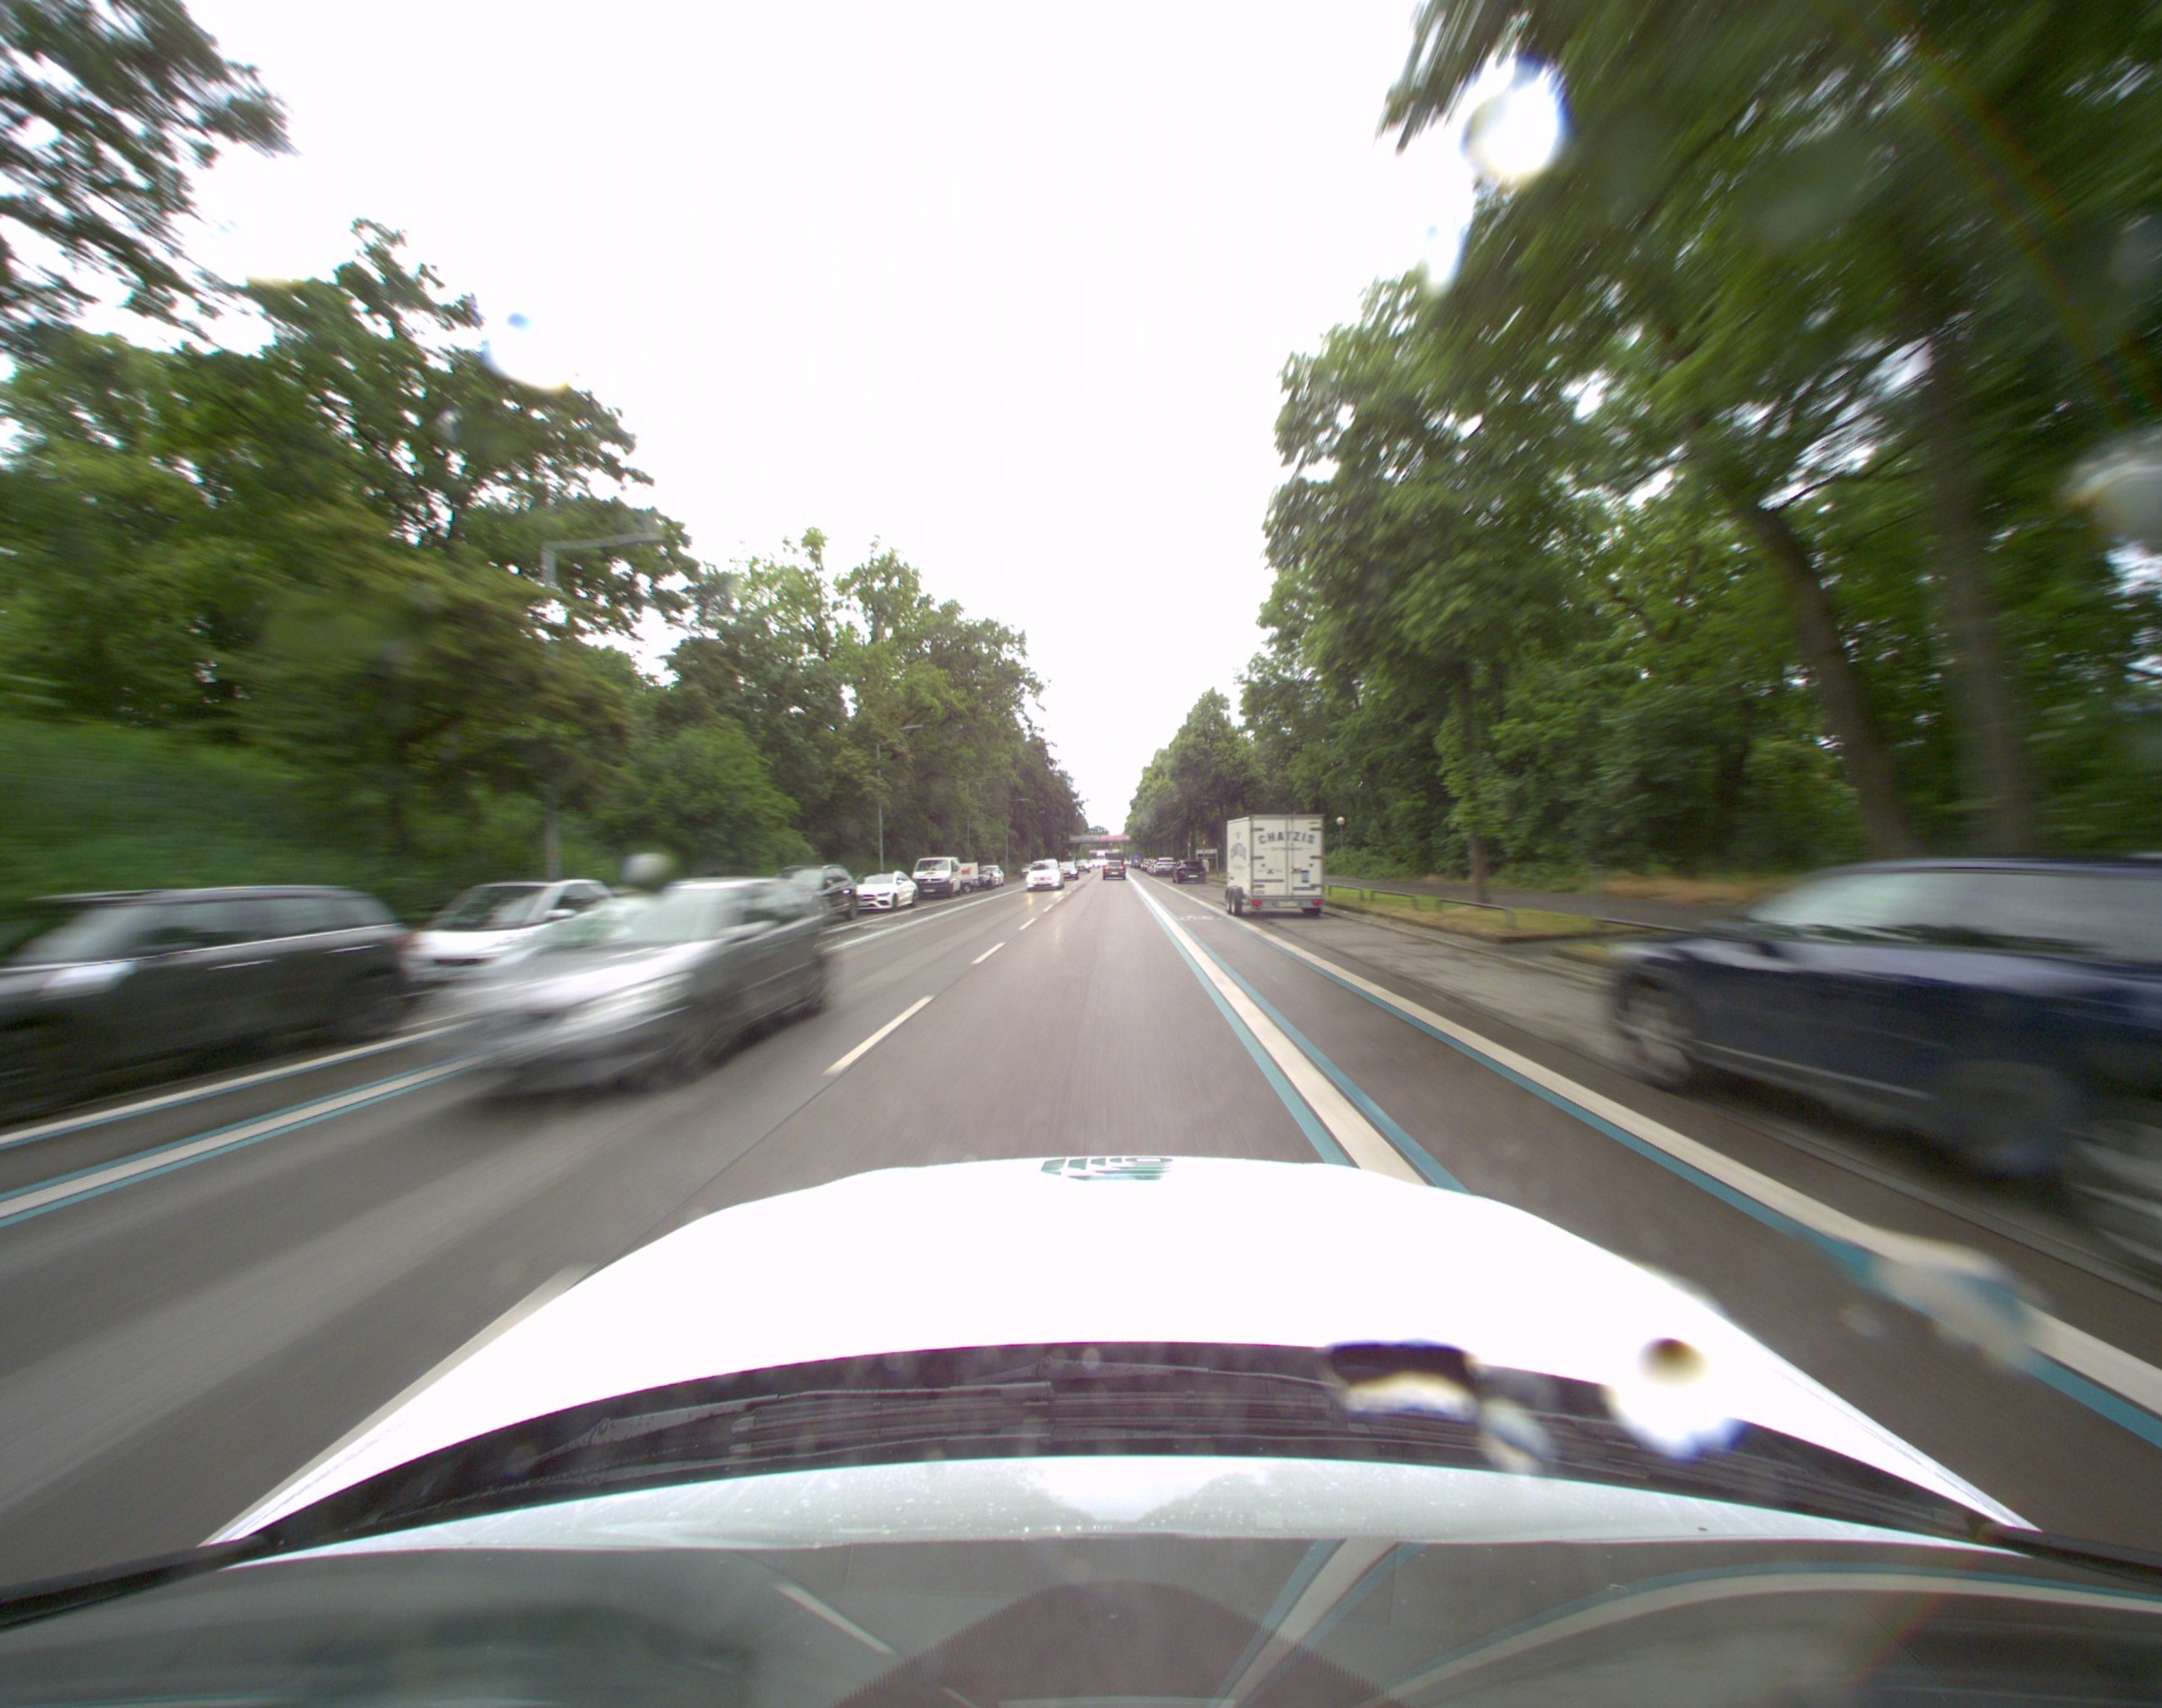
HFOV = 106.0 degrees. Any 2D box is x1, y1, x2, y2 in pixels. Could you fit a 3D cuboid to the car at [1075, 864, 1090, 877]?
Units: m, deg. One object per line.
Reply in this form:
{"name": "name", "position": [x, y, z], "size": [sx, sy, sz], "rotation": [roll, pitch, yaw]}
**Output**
{"name": "car", "position": [0.201, 2.006, 100.689], "size": [1.699, 1.572, 4.003], "rotation": [-1, 0, 3]}

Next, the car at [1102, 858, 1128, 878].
{"name": "car", "position": [2.557, 1.108, 62.244], "size": [1.865, 1.441, 4.295], "rotation": [0, -2, 0]}

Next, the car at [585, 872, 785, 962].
{"name": "car", "position": [-7.816, 1.170, 16.642], "size": [1.802, 1.488, 4.469], "rotation": [-1, 0, 1]}

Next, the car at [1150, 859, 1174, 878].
{"name": "car", "position": [7.341, 1.291, 74.316], "size": [1.890, 1.606, 4.002], "rotation": [-1, 0, 2]}

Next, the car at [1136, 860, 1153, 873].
{"name": "car", "position": [7.785, 1.546, 100.242], "size": [1.986, 1.562, 4.002], "rotation": [-1, 0, 2]}

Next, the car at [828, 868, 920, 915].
{"name": "car", "position": [-7.298, 1.283, 29.254], "size": [1.986, 1.488, 4.470], "rotation": [-1, 0, 2]}

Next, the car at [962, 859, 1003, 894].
{"name": "car", "position": [-5.987, 1.351, 49.992], "size": [1.934, 2.014, 4.738], "rotation": [-1, 0, -1]}

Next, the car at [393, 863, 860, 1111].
{"name": "car", "position": [-3.461, 0.872, 7.223], "size": [1.692, 1.485, 4.037], "rotation": [-2, 0, 2]}

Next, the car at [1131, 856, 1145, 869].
{"name": "car", "position": [9.020, 1.342, 128.406], "size": [1.986, 2.014, 4.000], "rotation": [-1, -1, 1]}

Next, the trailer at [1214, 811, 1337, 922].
{"name": "trailer", "position": [4.905, 0.304, 21.248], "size": [2.125, 2.560, 4.296], "rotation": [-1, 0, 0]}

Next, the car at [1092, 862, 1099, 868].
{"name": "car", "position": [2.722, 2.062, 153.092], "size": [1.373, 1.131, 3.314], "rotation": [-1, 0, 2]}

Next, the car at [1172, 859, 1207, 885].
{"name": "car", "position": [6.608, 1.069, 49.990], "size": [1.715, 1.525, 4.002], "rotation": [-1, 0, 2]}

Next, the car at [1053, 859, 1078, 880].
{"name": "car", "position": [-1.199, 1.204, 64.631], "size": [1.699, 1.572, 4.003], "rotation": [-1, 0, 3]}

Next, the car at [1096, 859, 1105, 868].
{"name": "car", "position": [4.507, 2.245, 191.361], "size": [1.986, 2.014, 4.001], "rotation": [-3, -4, 2]}

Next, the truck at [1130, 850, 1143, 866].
{"name": "truck", "position": [9.885, 0.718, 144.644], "size": [2.104, 2.599, 4.303], "rotation": [-1, 0, 2]}

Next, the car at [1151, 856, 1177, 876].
{"name": "car", "position": [7.071, 0.990, 69.707], "size": [1.890, 1.606, 4.002], "rotation": [-1, 0, 2]}

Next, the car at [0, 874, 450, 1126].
{"name": "car", "position": [-7.866, 1.025, 6.831], "size": [1.688, 1.584, 4.143], "rotation": [-1, 0, 4]}

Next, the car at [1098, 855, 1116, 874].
{"name": "car", "position": [2.941, 1.178, 91.571], "size": [1.986, 2.014, 4.002], "rotation": [-1, 0, 2]}

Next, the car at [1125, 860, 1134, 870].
{"name": "car", "position": [11.641, 2.642, 195.972], "size": [1.986, 2.014, 4.001], "rotation": [-3, -4, 2]}

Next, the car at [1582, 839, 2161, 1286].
{"name": "car", "position": [4.516, 0.699, 3.987], "size": [1.707, 1.513, 3.976], "rotation": [-1, 0, 1]}

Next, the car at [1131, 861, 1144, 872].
{"name": "car", "position": [9.473, 2.148, 136.437], "size": [1.986, 1.772, 4.002], "rotation": [-3, -1, 2]}

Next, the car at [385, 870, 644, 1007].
{"name": "car", "position": [-7.658, 1.051, 11.351], "size": [1.456, 1.571, 2.984], "rotation": [-1, 0, 1]}

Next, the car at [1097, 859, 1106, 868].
{"name": "car", "position": [5.251, 2.410, 205.661], "size": [1.986, 2.014, 4.001], "rotation": [-3, -4, 2]}

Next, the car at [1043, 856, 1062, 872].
{"name": "car", "position": [-3.875, 1.332, 110.856], "size": [2.150, 2.014, 5.034], "rotation": [-1, 0, 3]}

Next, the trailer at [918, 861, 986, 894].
{"name": "trailer", "position": [-7.036, 1.267, 44.628], "size": [1.609, 1.629, 3.696], "rotation": [-2, -1, 33]}

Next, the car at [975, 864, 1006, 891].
{"name": "car", "position": [-6.213, 1.595, 56.445], "size": [1.569, 1.770, 3.417], "rotation": [-1, 0, 2]}

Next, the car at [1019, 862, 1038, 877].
{"name": "car", "position": [-5.394, 1.566, 84.617], "size": [1.666, 1.514, 3.631], "rotation": [-1, 0, 1]}

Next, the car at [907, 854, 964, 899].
{"name": "car", "position": [-7.014, 1.033, 39.635], "size": [1.934, 2.014, 4.738], "rotation": [-1, 0, -1]}

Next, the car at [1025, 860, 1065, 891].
{"name": "car", "position": [-1.856, 1.090, 43.232], "size": [1.828, 1.517, 4.001], "rotation": [-2, 0, 1]}

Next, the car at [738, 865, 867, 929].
{"name": "car", "position": [-7.600, 1.115, 22.737], "size": [1.872, 1.561, 4.470], "rotation": [-1, 0, 2]}

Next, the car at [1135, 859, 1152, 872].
{"name": "car", "position": [8.060, 1.485, 105.033], "size": [1.986, 1.562, 4.002], "rotation": [-1, 0, 2]}

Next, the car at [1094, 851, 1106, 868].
{"name": "car", "position": [5.749, 1.660, 248.613], "size": [3.341, 4.952, 9.014], "rotation": [-1, 0, 2]}
